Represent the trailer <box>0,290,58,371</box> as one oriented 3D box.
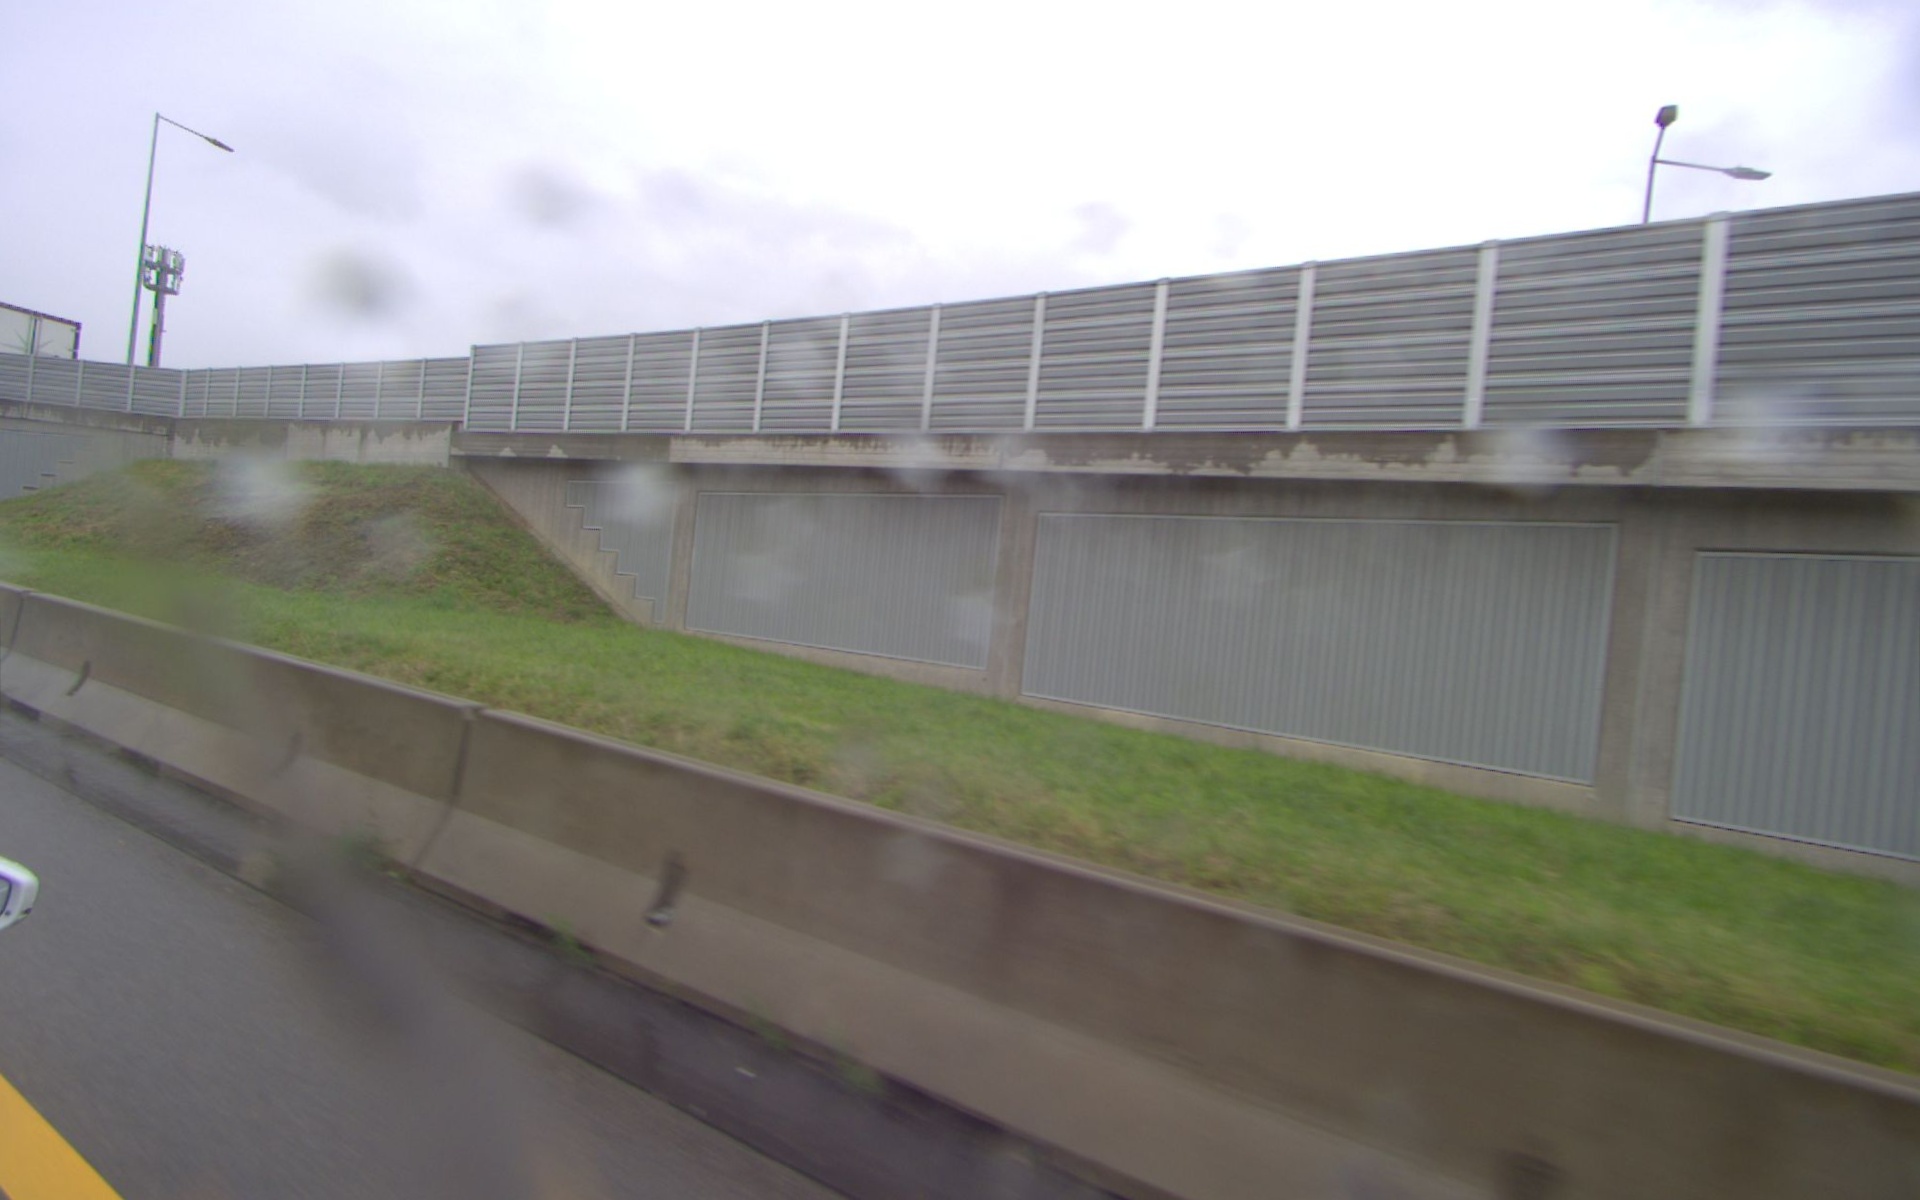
[{"bbox_3d":[-39.321,-10.333,39.655,13.546,2.130,1.996,5,-2,33],"label":"trailer"}]
